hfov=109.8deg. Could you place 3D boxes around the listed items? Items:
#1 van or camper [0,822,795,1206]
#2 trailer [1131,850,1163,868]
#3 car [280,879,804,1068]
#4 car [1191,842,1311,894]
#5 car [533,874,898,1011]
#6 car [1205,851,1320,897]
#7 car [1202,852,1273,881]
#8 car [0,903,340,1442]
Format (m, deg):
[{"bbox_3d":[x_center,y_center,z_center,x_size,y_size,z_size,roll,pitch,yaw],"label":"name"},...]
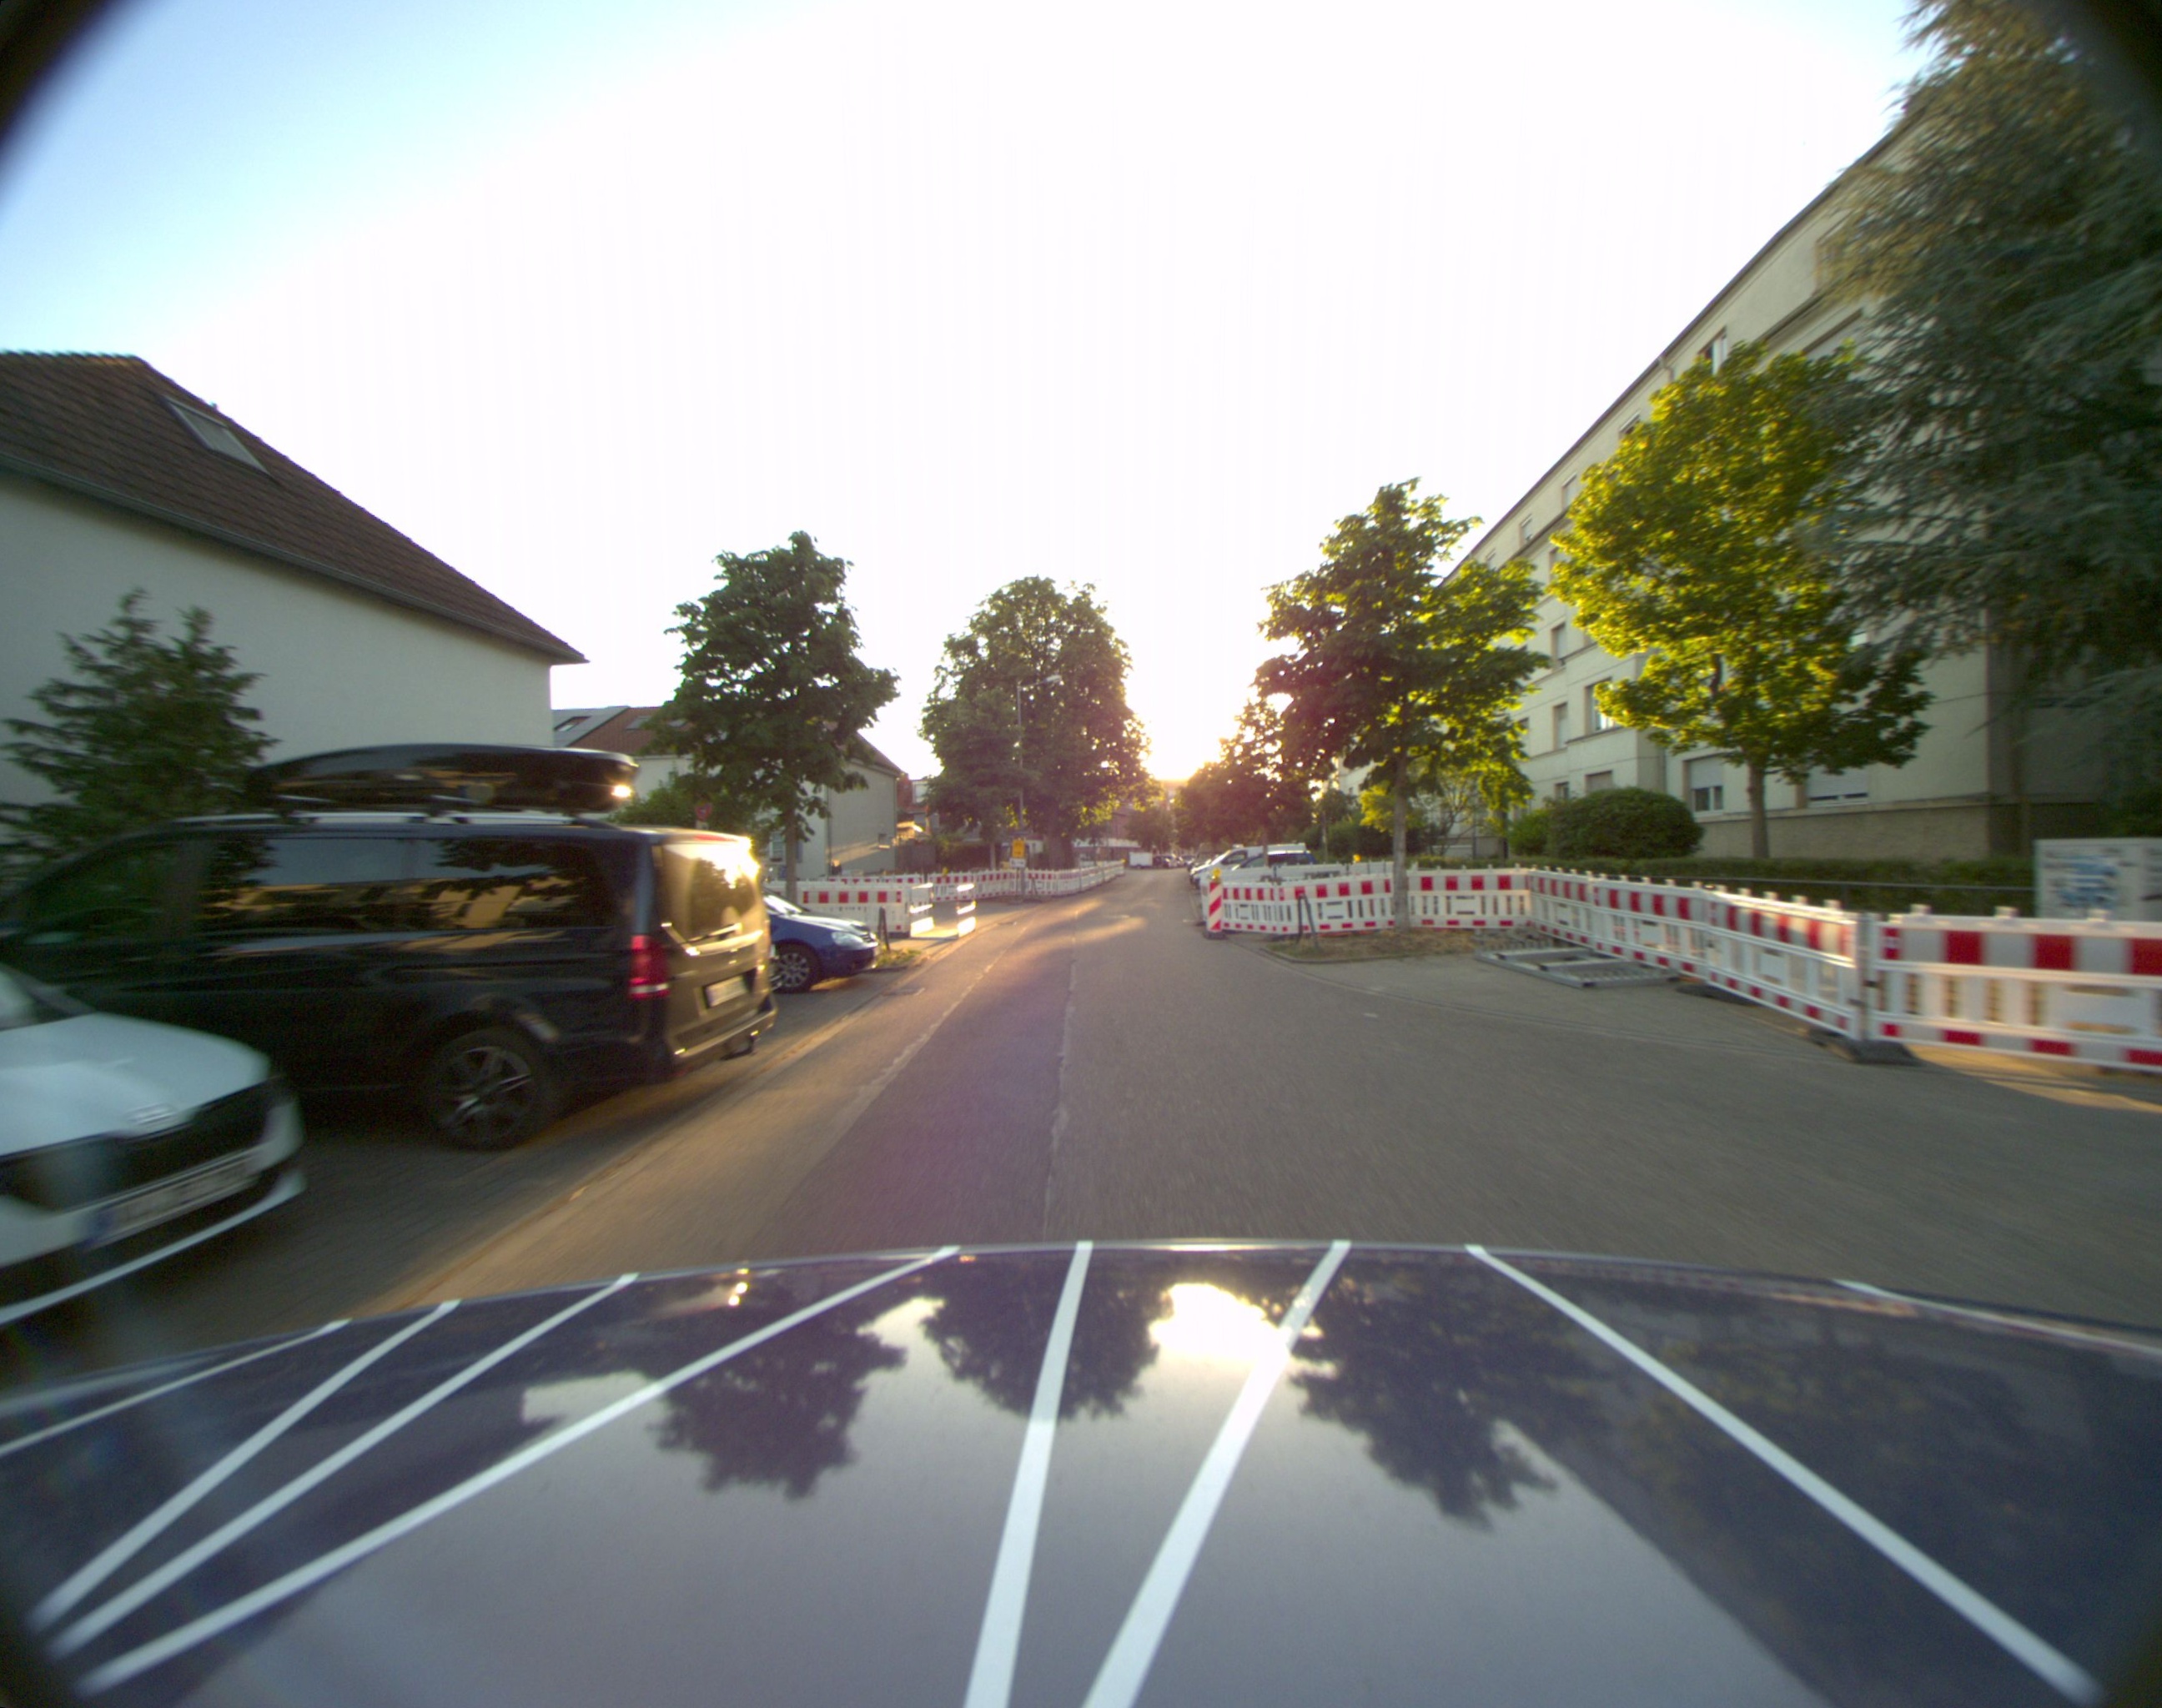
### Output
[{"bbox_3d":[-4.656,0.856,5.082,4.660,1.942,2.094,-1,0,-3],"label":"van or camper"},{"bbox_3d":[8.261,0.607,95.313,3.683,2.056,2.002,-2,0,14],"label":"trailer"},{"bbox_3d":[-5.163,1.104,7.704,3.997,1.551,1.793,-1,0,1],"label":"car"},{"bbox_3d":[7.234,0.580,32.682,4.785,2.057,2.001,-1,0,5],"label":"car"},{"bbox_3d":[-4.696,1.108,10.201,3.997,1.551,1.793,-1,0,1],"label":"car"},{"bbox_3d":[7.063,0.766,29.911,4.129,1.673,2.001,-1,0,5],"label":"car"},{"bbox_3d":[9.650,0.754,47.148,4.129,1.673,2.001,-1,0,5],"label":"car"},{"bbox_3d":[-5.144,1.020,2.451,3.842,1.535,1.629,-1,0,-1],"label":"car"}]
